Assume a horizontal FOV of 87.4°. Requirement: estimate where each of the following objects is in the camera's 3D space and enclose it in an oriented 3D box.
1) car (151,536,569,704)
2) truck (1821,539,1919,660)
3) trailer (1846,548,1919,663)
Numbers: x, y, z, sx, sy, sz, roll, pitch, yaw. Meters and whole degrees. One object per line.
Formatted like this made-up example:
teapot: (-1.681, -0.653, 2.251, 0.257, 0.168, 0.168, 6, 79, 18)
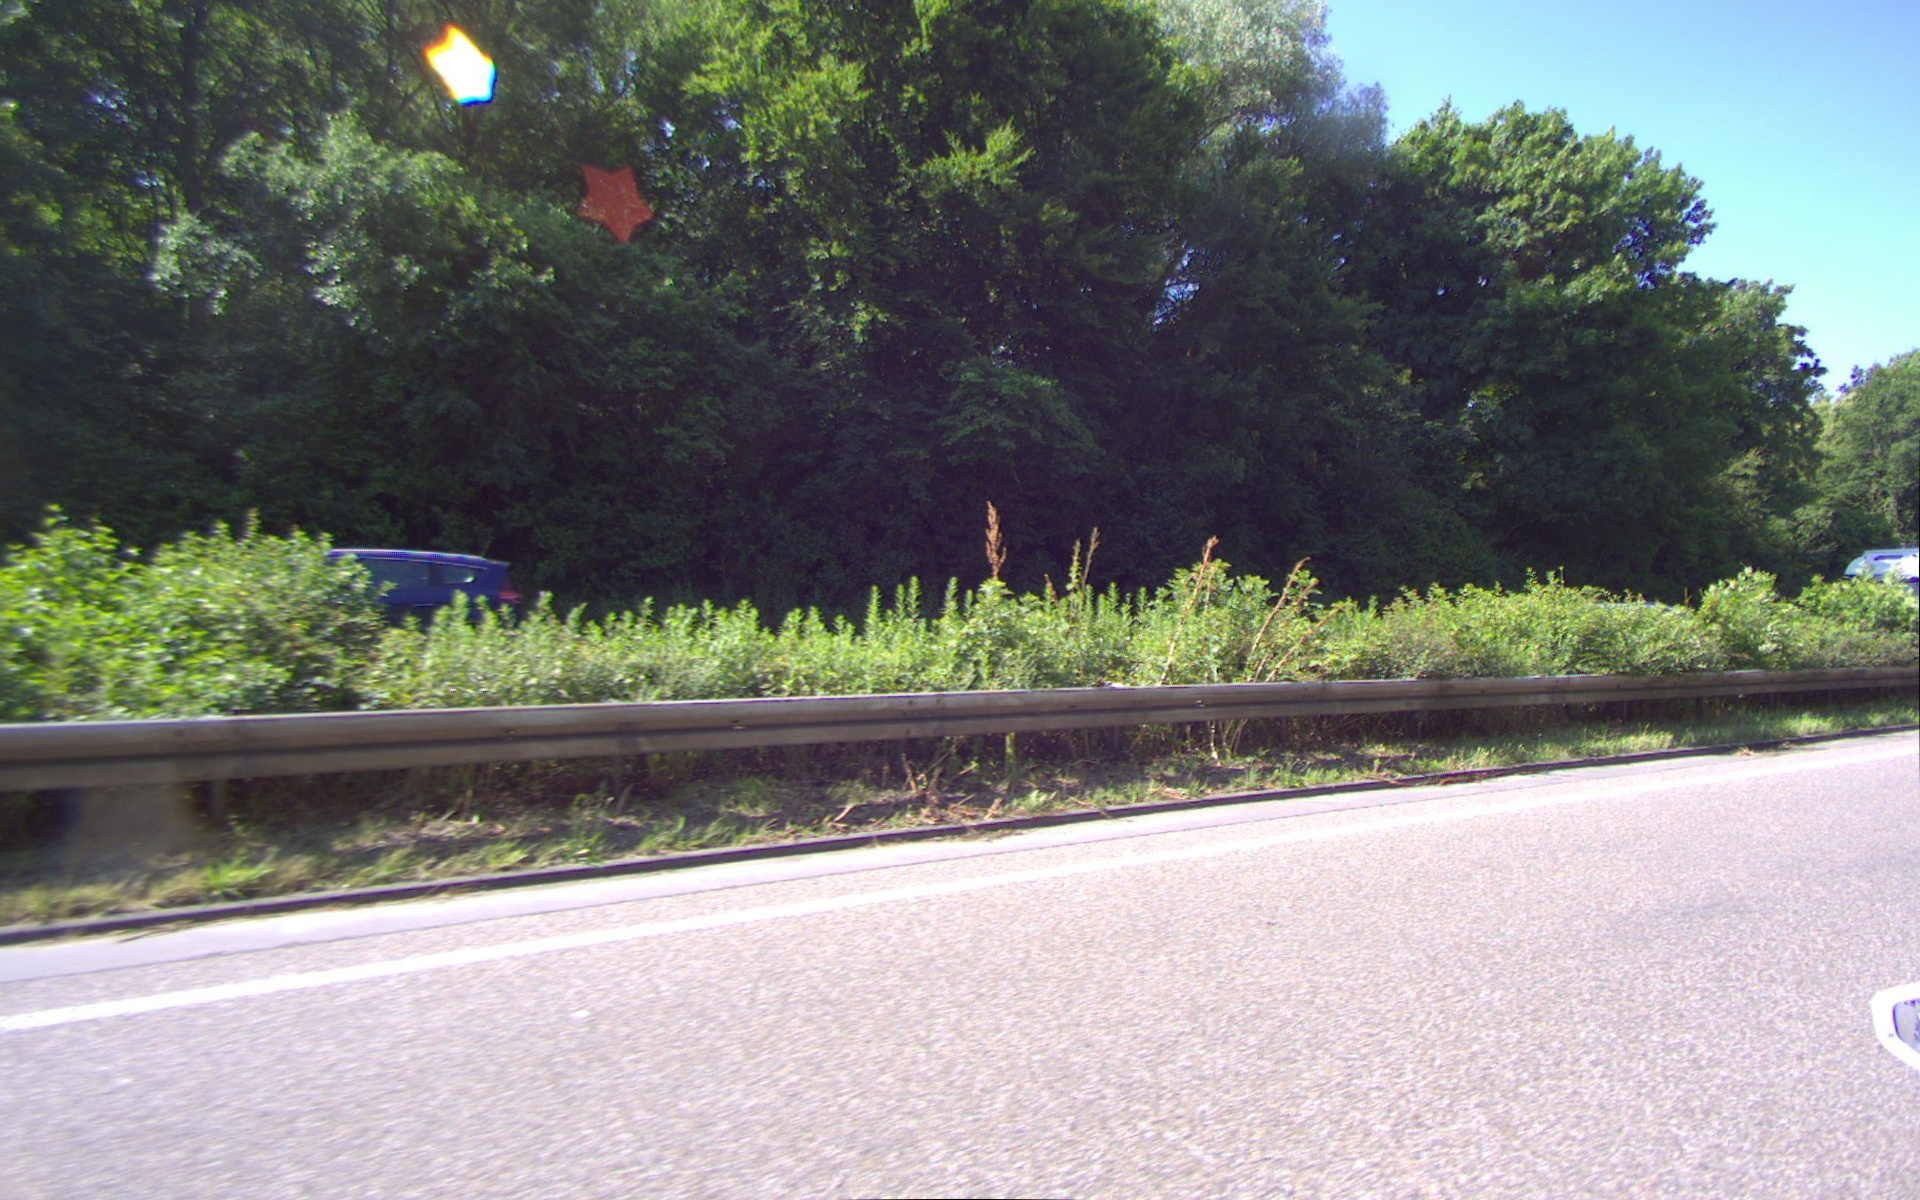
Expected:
car: (-7.513, 0.245, 13.003, 4.380, 1.873, 1.623, 1, 0, -30)
truck: (36.223, 0.064, 38.611, 6.460, 4.300, 2.704, 2, 0, -30)
trailer: (41.619, 0.386, 41.910, 13.504, 4.357, 2.815, 2, 0, -30)
